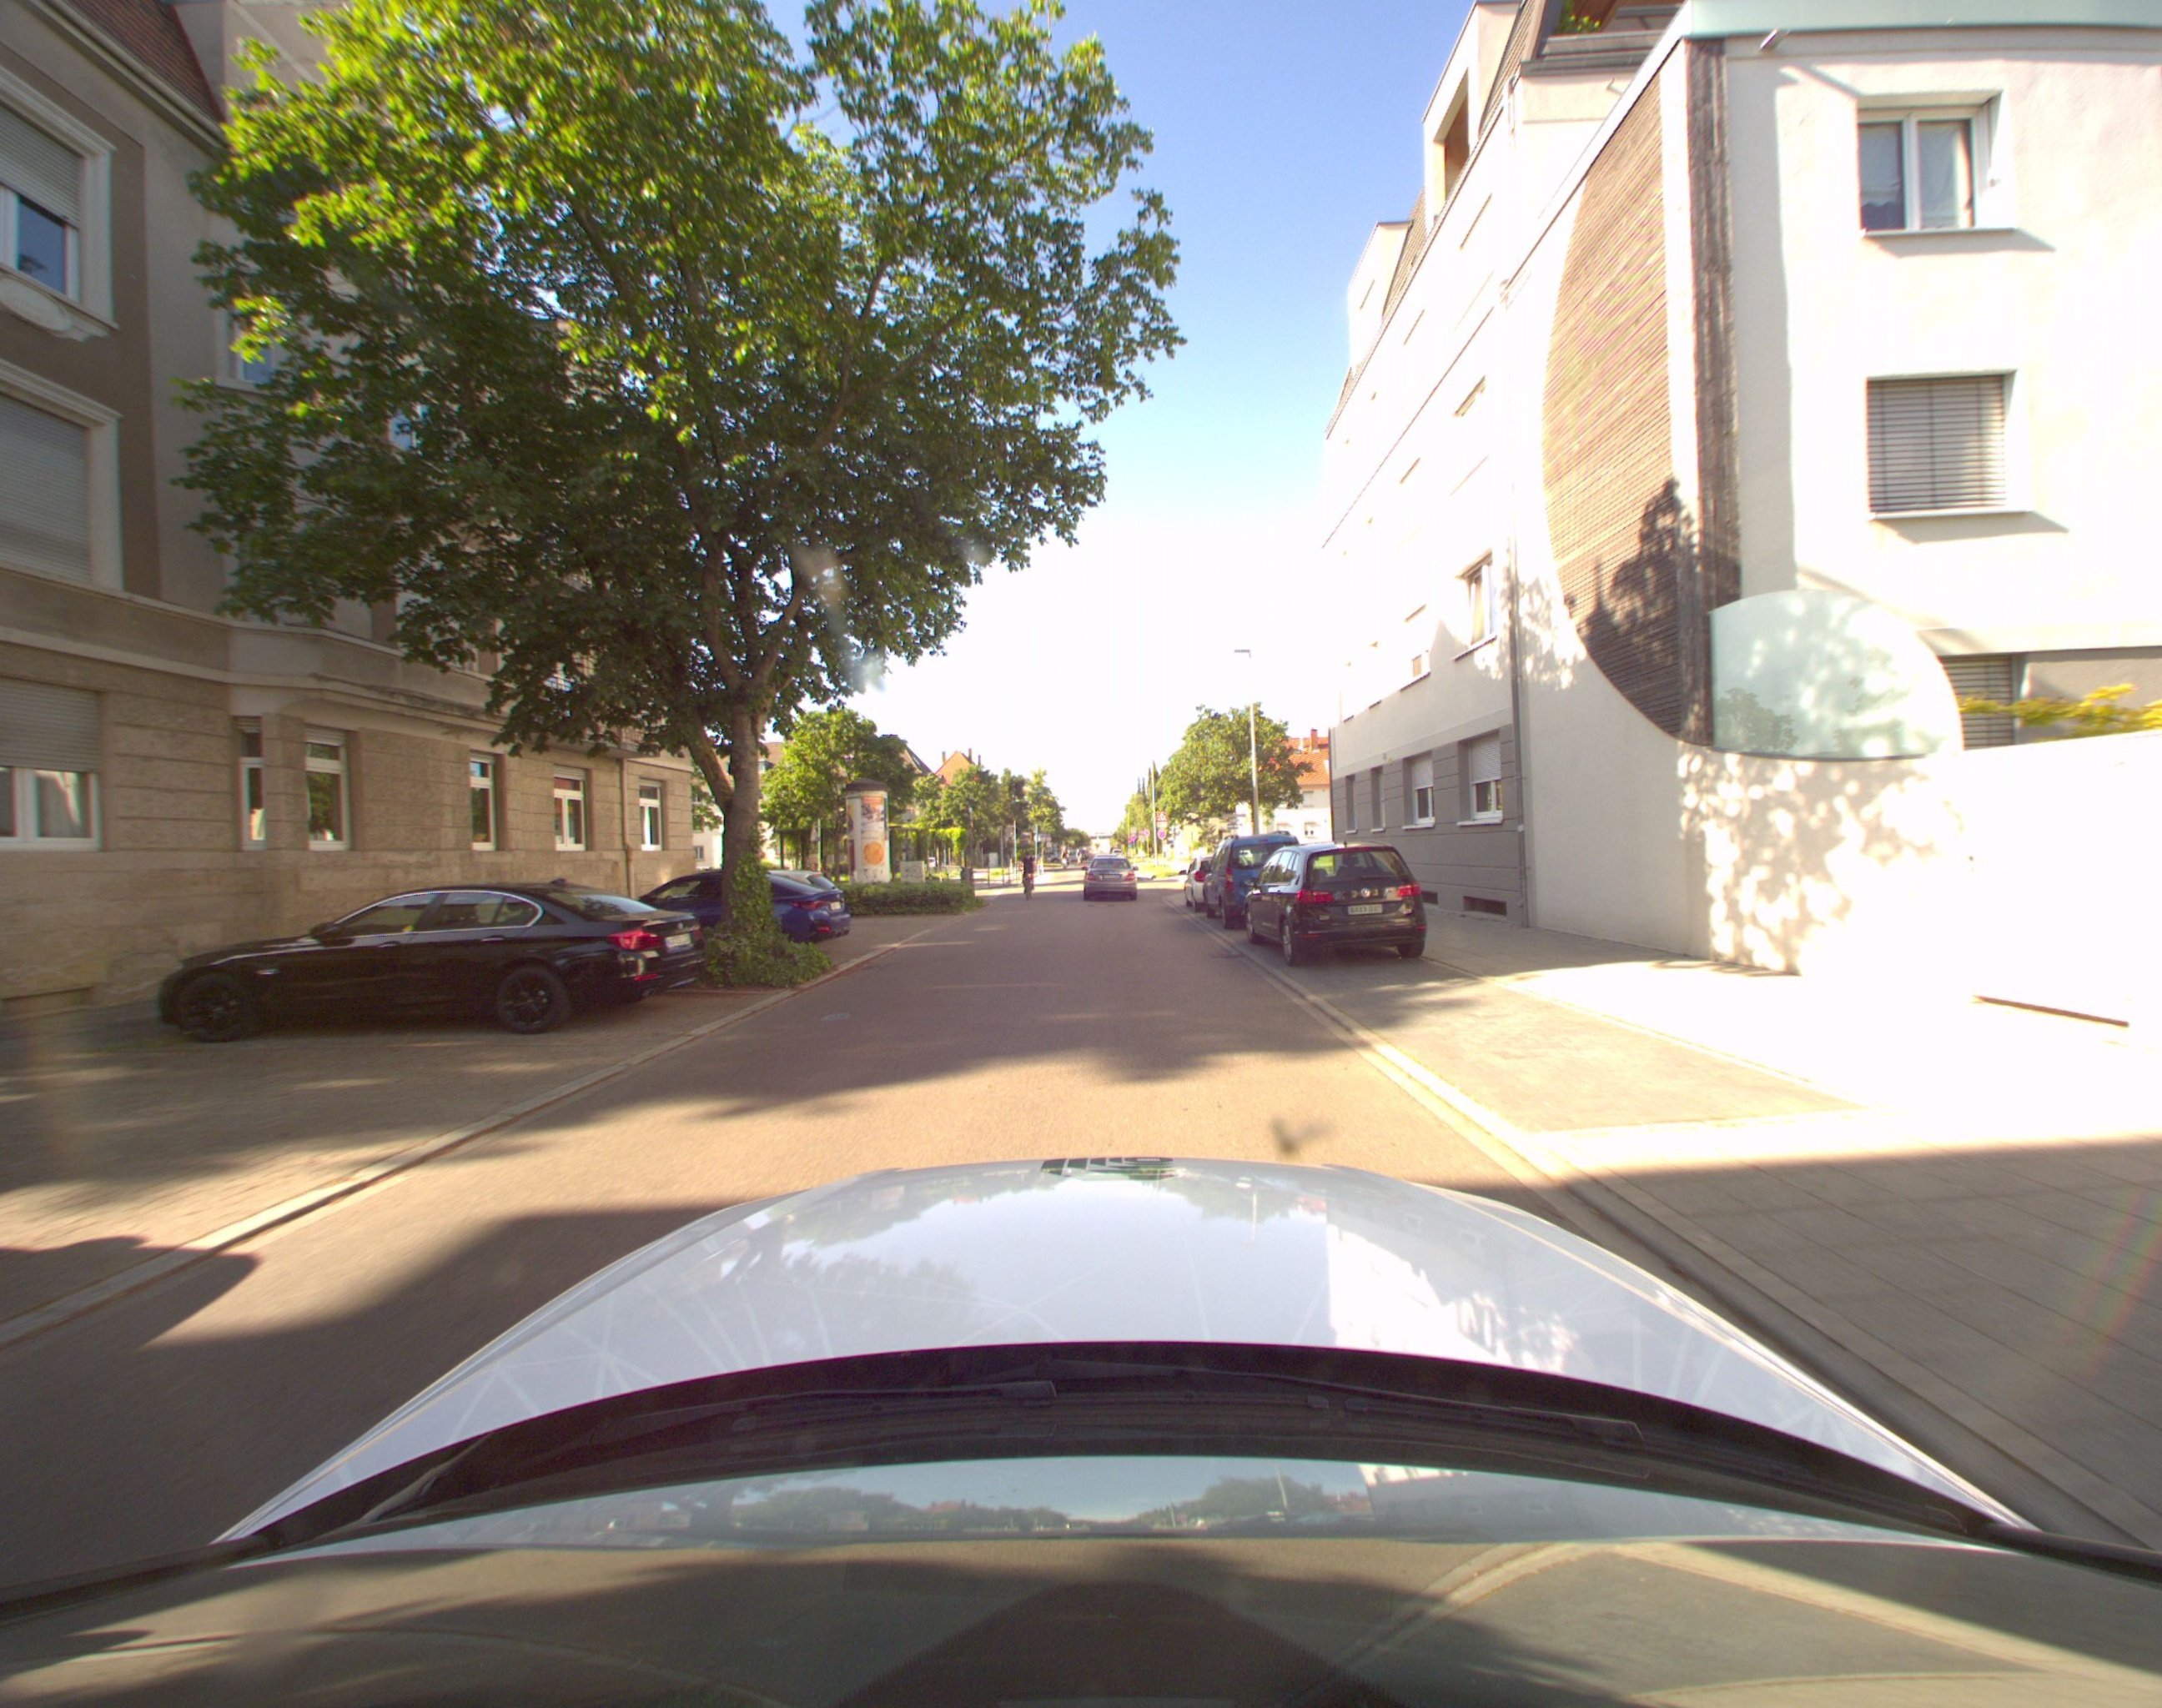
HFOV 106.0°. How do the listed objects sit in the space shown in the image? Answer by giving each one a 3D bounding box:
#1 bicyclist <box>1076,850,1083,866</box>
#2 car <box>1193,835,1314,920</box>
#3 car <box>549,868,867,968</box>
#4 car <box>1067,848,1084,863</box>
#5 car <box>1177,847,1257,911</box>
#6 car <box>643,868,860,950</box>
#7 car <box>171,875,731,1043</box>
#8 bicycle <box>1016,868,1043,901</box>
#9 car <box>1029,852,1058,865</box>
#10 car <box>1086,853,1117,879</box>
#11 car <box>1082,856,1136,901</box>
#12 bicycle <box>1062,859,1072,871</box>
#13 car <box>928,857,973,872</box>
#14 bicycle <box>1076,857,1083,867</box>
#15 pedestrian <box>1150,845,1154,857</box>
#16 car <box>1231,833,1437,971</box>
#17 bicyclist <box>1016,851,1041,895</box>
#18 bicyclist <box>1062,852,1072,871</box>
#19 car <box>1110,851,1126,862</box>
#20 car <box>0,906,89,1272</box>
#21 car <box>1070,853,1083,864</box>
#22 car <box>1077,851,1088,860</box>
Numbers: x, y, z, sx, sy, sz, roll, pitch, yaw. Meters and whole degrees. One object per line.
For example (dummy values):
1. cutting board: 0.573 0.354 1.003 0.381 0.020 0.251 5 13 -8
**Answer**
1. bicyclist: -0.169 0.396 79.802 0.569 1.509 0.655 -2 0 3
2. car: 3.528 0.480 17.407 1.676 1.435 4.267 -6 -1 2
3. car: -6.126 1.027 13.781 4.460 1.479 1.868 -1 -1 -1
4. car: -0.721 0.196 104.489 1.868 1.728 3.996 -2 0 -3
5. car: 3.592 0.648 22.064 1.558 1.410 3.732 -6 -1 3
6. car: -6.486 1.066 16.305 3.567 1.430 1.731 -1 0 1
7. car: -6.395 1.019 8.693 4.460 1.479 1.868 -1 -1 -1
8. bicycle: -1.868 1.084 29.696 0.716 1.079 1.892 -3 0 2
9. car: -4.547 0.517 99.239 3.488 1.533 1.642 -2 0 -6
10. car: 1.161 0.695 46.774 1.701 1.448 4.203 0 -1 1
11. car: 0.984 0.813 27.787 1.720 1.420 3.962 0 -1 3
12. bicycle: -1.121 0.899 65.902 0.587 0.931 1.851 -2 0 3
13. car: -12.380 0.988 77.344 3.976 1.376 1.999 0 -1 -2
14. bicycle: -0.161 0.745 79.767 0.587 0.931 1.851 -2 0 3
15. pedestrian: 9.756 -0.387 111.808 0.507 1.559 0.644 0 -1 3
16. car: 3.451 0.573 11.958 1.730 1.531 4.180 -5 0 2
17. bicyclist: -1.897 0.694 29.731 0.718 1.537 1.137 -3 0 2
18. bicyclist: -1.131 0.587 65.905 0.678 1.509 0.655 -2 0 3
19. car: 4.776 0.318 106.707 1.718 1.330 3.996 -2 0 -3
20. car: -6.555 0.978 2.622 4.160 1.500 1.999 0 -1 -1
21. car: -0.692 0.685 122.503 1.783 1.532 3.996 -2 0 -3
22. car: 0.324 0.323 147.539 1.783 1.532 3.996 -2 0 -3
